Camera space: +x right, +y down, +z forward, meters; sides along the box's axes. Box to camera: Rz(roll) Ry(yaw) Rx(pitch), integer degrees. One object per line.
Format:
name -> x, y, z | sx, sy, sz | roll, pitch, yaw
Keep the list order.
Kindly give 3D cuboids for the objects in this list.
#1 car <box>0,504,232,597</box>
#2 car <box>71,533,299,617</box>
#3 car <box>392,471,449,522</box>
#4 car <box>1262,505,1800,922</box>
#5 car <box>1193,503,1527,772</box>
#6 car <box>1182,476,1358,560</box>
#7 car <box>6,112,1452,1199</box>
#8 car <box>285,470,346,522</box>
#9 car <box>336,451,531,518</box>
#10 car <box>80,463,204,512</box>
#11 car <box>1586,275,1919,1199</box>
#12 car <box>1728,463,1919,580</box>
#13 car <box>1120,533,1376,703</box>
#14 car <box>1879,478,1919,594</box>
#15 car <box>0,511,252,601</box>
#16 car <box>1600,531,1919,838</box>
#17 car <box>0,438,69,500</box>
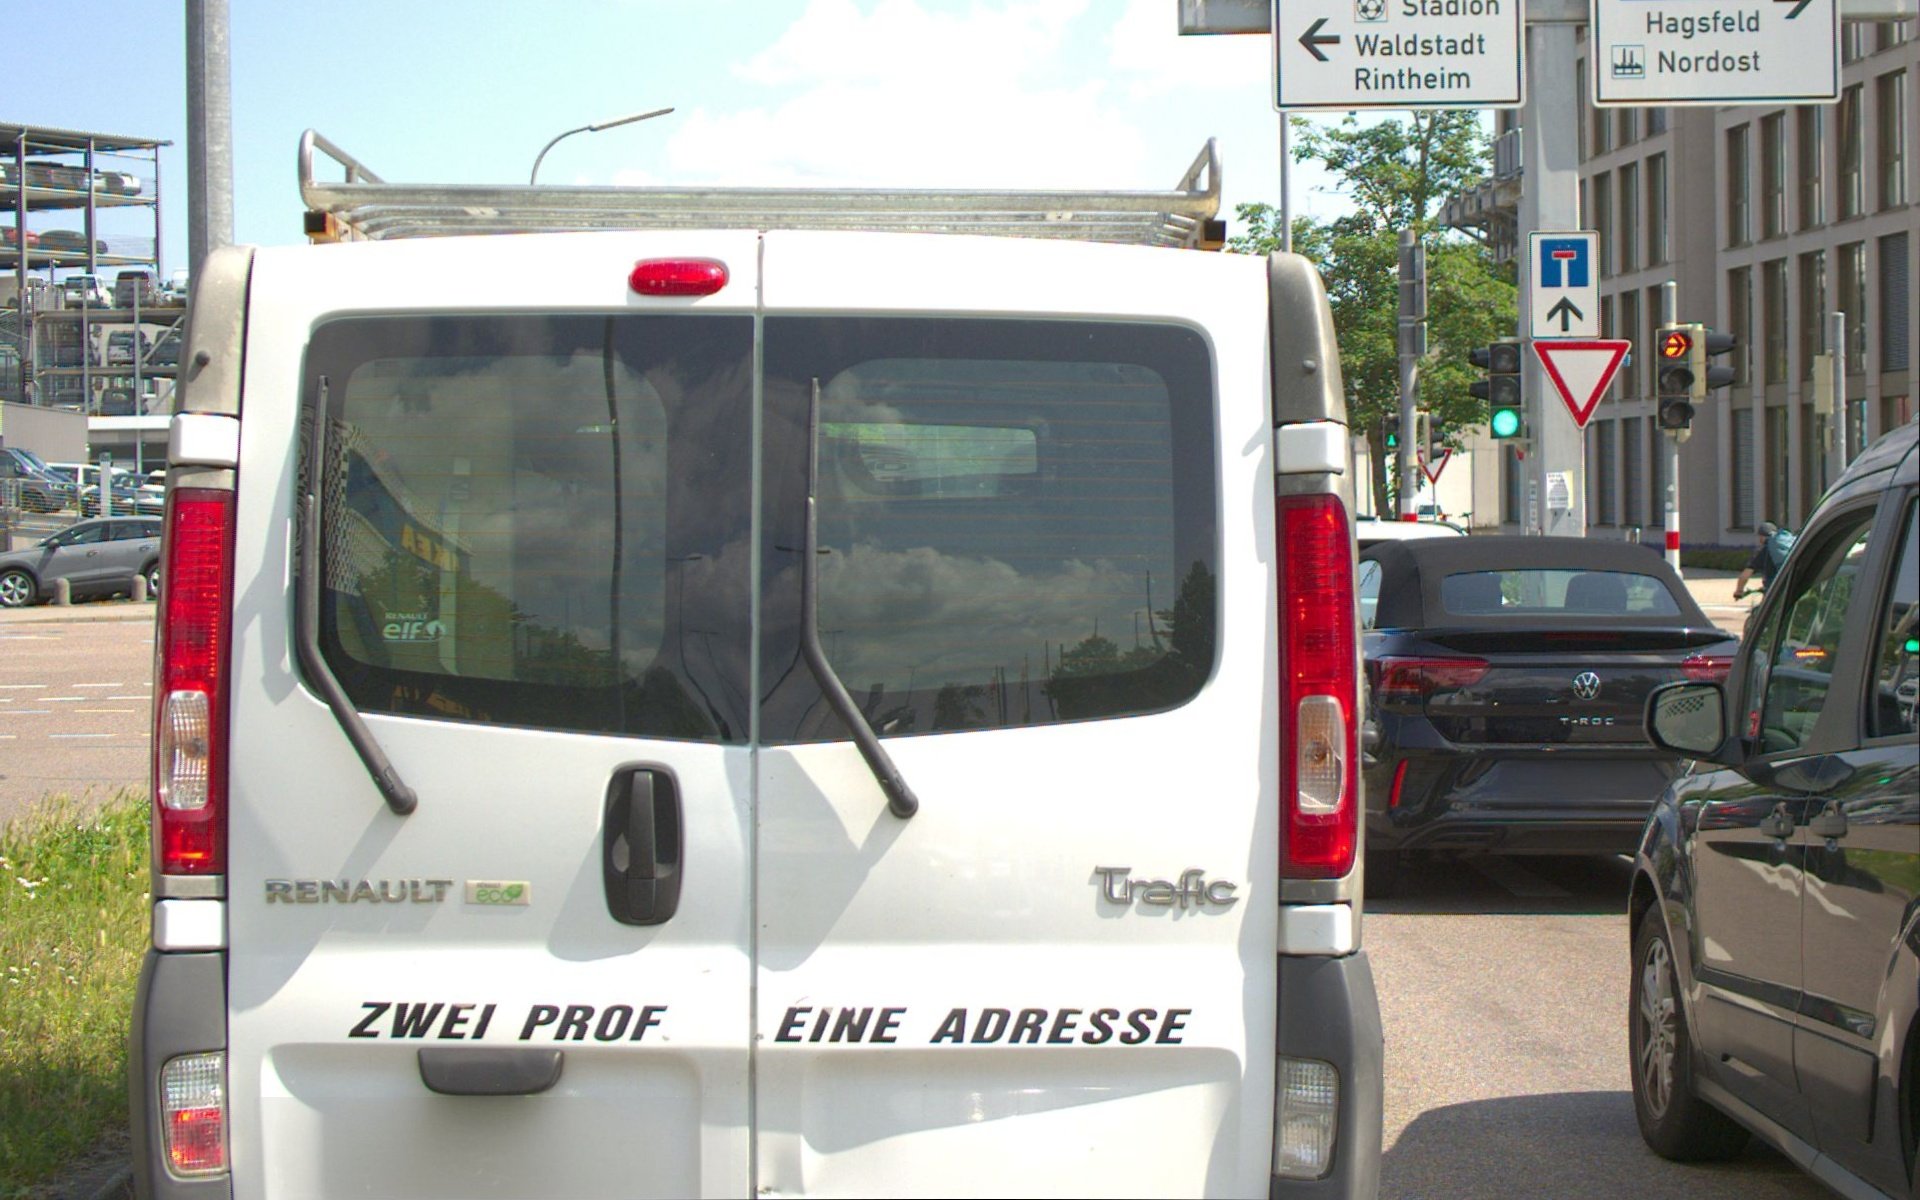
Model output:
car -> -16.173, -0.938, 64.708 | 4.574, 1.672, 1.907 | 1, 0, -3
car -> -16.999, -0.566, 75.568 | 4.574, 1.672, 1.908 | -1, 3, -3
car -> -17.029, -3.253, 108.536 | 1.560, 1.546, 3.603 | 0, 1, -5
car -> 2.406, 0.403, 15.432 | 1.774, 1.624, 4.000 | 0, 1, 1
car -> 2.556, 0.187, 22.800 | 1.774, 1.624, 4.000 | 0, 1, 1
car -> 7.708, -2.019, 85.766 | 3.986, 2.007, 2.000 | 1, 0, -8
car -> -0.343, 0.320, 6.990 | 1.973, 2.053, 4.565 | 0, 1, -1
car -> -20.406, -3.277, 108.983 | 1.560, 1.547, 3.603 | 1, 1, -5
car -> -17.726, -3.884, 115.944 | 6.386, 2.095, 1.765 | 1, 0, -5
car -> -27.597, -3.781, 116.086 | 3.986, 1.547, 1.765 | 1, 0, -12
car -> 2.486, 0.400, 6.707 | 1.823, 1.898, 4.000 | 0, 1, 1
car -> 15.230, -1.245, 55.848 | 4.975, 1.831, 2.000 | 1, 0, -8
car -> 2.569, 0.134, 31.498 | 1.854, 1.437, 4.000 | 1, 1, -2
car -> 15.481, -0.874, 48.993 | 4.197, 1.621, 1.828 | 1, 0, -8
car -> -16.336, -0.861, 67.351 | 4.574, 1.672, 1.907 | 1, 0, -3
car -> 5.085, 0.529, 20.846 | 1.859, 1.650, 4.218 | 1, -2, 4
car -> -29.267, -3.956, 103.555 | 4.440, 1.795, 1.765 | 1, 0, -6
